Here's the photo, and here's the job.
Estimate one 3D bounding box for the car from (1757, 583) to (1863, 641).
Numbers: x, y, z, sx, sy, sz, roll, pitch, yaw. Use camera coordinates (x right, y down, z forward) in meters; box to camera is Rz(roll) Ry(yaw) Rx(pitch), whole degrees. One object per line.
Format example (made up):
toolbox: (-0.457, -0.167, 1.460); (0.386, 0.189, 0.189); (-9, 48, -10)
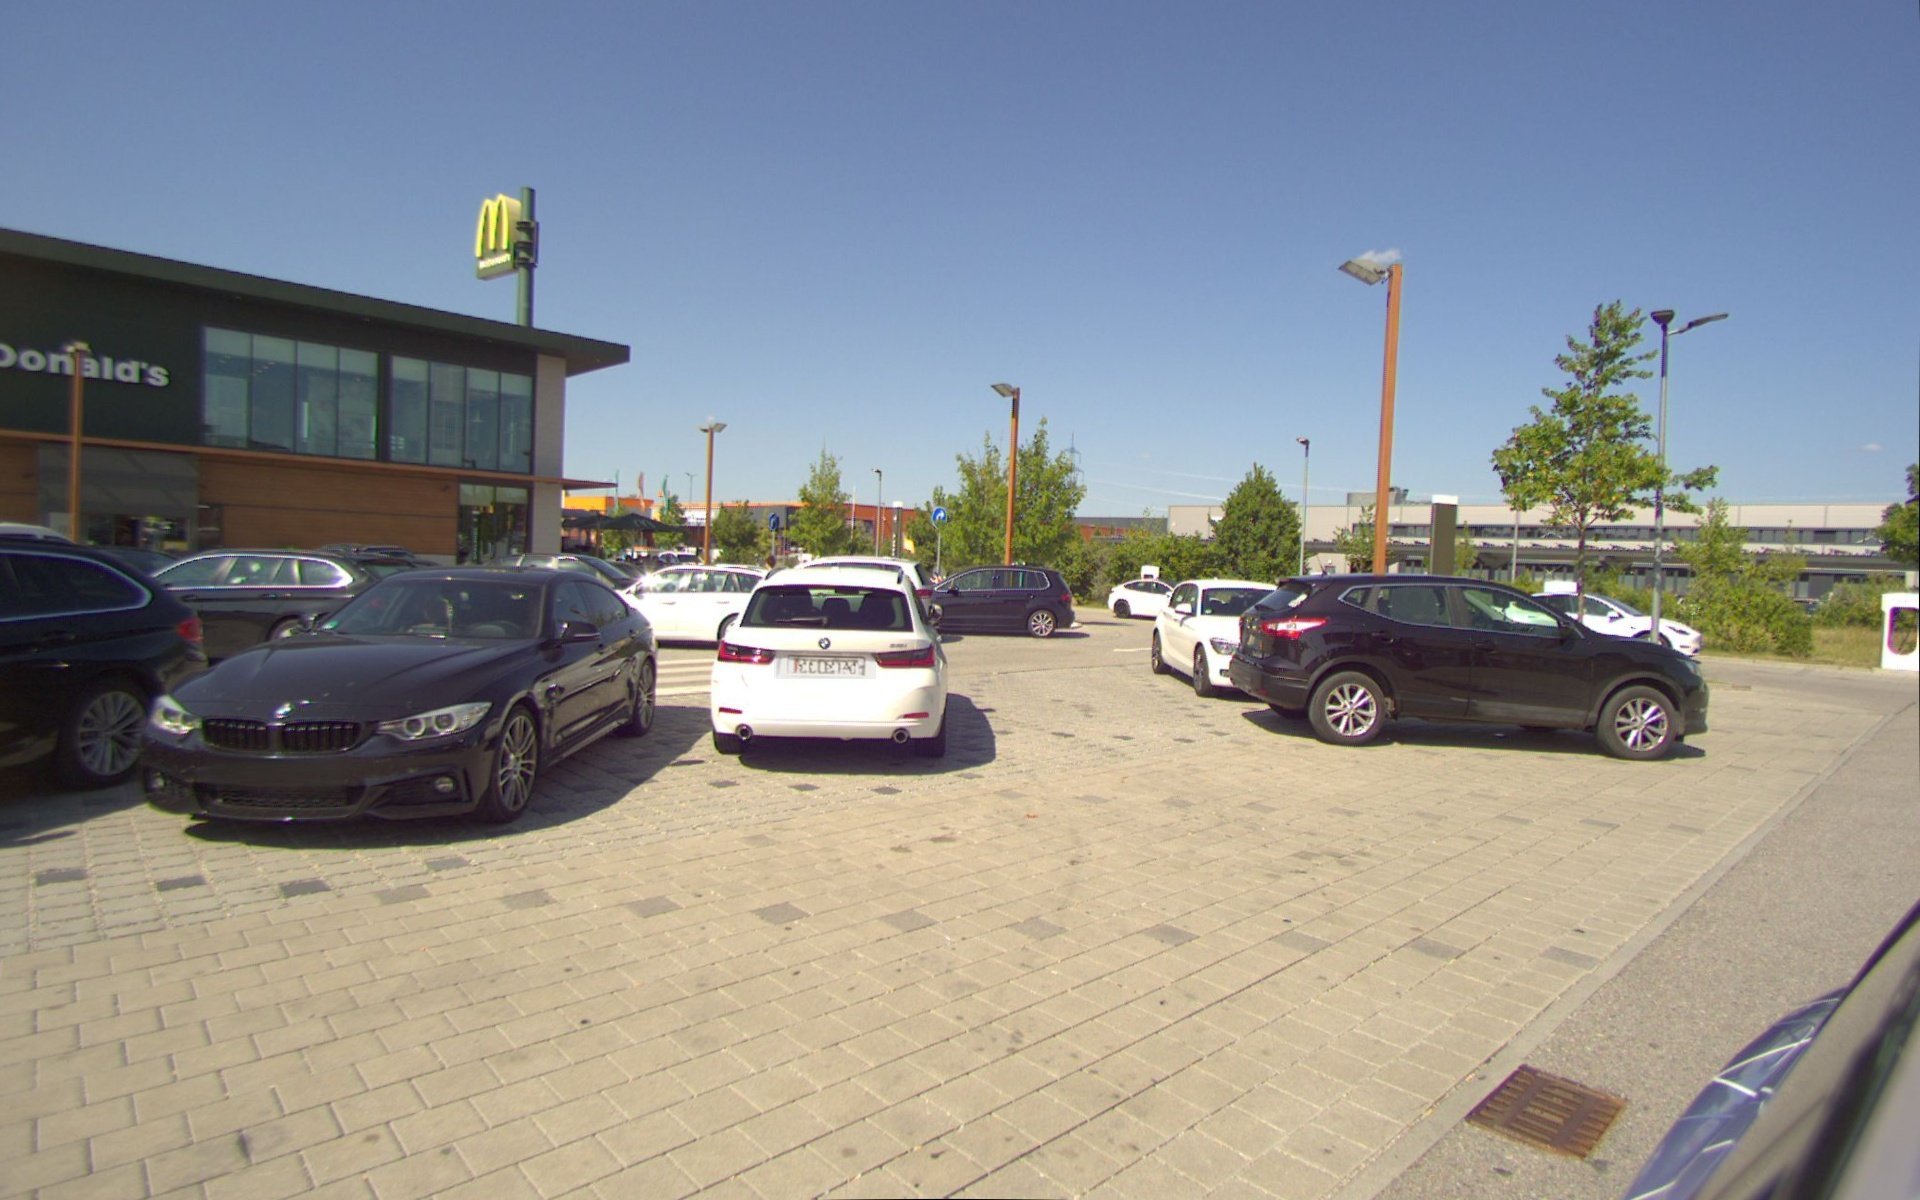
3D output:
car: (28.720, 0.375, 34.158); (4.179, 1.771, 1.918); (0, 2, -38)

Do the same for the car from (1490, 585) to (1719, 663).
car: (16.085, 0.519, 25.426); (4.562, 1.612, 1.814); (4, 2, 43)

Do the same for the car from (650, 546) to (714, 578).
car: (-14.407, -1.971, 52.369); (1.732, 1.581, 3.880); (1, 2, -39)

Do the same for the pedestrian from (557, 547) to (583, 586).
pedestrian: (-16.271, -1.401, 42.276); (0.692, 1.579, 0.718); (2, 1, 18)

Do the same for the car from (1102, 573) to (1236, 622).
car: (7.239, -0.120, 35.361); (1.811, 1.497, 4.326); (0, 2, -42)

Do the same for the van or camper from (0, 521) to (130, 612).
van or camper: (-19.954, -0.724, 21.308); (1.679, 1.797, 4.030); (2, 2, -1)

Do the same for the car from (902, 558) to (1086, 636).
car: (0.721, -0.089, 22.732); (3.924, 1.571, 1.755); (2, 1, 0)

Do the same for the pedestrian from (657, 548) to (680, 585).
pedestrian: (-12.679, -1.462, 44.024); (0.690, 1.579, 0.721); (0, 2, -43)

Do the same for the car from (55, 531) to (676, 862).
car: (-3.326, 0.384, 6.818); (1.800, 1.477, 4.374); (2, 2, -3)

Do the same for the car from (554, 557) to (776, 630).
car: (-6.733, -0.183, 23.422); (4.560, 1.505, 1.895); (2, 2, 3)

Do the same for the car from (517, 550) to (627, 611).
car: (-11.356, -0.608, 29.902); (1.685, 1.633, 4.037); (2, 2, 0)

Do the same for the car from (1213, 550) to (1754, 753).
car: (4.843, 0.422, 9.920); (4.226, 1.610, 1.856); (2, 1, 4)

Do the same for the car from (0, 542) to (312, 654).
car: (-12.772, -0.082, 15.485); (4.560, 1.505, 1.895); (2, 2, 3)

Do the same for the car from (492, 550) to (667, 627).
car: (-9.470, -0.272, 25.230); (3.878, 1.797, 1.656); (1, 1, -29)

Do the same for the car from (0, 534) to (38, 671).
car: (-12.779, -0.015, 10.969); (4.039, 1.534, 1.813); (2, 2, 3)

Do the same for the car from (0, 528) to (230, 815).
car: (-5.963, 0.370, 4.591); (1.937, 1.505, 4.786); (2, 2, -1)

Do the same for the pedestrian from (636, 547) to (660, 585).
pedestrian: (-13.261, -1.449, 42.979); (0.690, 1.579, 0.721); (0, 2, -43)

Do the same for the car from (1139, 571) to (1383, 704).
car: (3.873, 0.378, 13.858); (1.937, 1.477, 4.209); (2, 2, -1)

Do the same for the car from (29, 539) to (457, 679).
car: (-8.878, 0.065, 12.765); (4.202, 1.505, 1.813); (2, 2, 3)

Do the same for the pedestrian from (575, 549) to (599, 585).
pedestrian: (-16.603, -1.463, 45.007); (0.692, 1.579, 0.718); (2, 1, 18)

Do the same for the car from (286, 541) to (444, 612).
car: (-15.176, -0.609, 26.077); (1.685, 1.633, 4.037); (2, 2, 0)

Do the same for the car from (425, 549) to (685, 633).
car: (-8.176, -0.215, 20.699); (4.560, 1.505, 1.895); (2, 2, 3)

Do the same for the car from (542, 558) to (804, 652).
car: (-4.924, 0.040, 17.698); (4.039, 1.430, 1.813); (2, 2, 3)

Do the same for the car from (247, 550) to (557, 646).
car: (-9.893, -0.078, 18.168); (4.560, 1.505, 1.895); (2, 2, 3)

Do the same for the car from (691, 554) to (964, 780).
car: (-0.954, 0.386, 9.126); (1.801, 1.477, 4.587); (2, 2, -1)

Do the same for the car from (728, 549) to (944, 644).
car: (-2.394, -0.109, 20.269); (4.039, 1.695, 1.813); (2, 2, 3)
